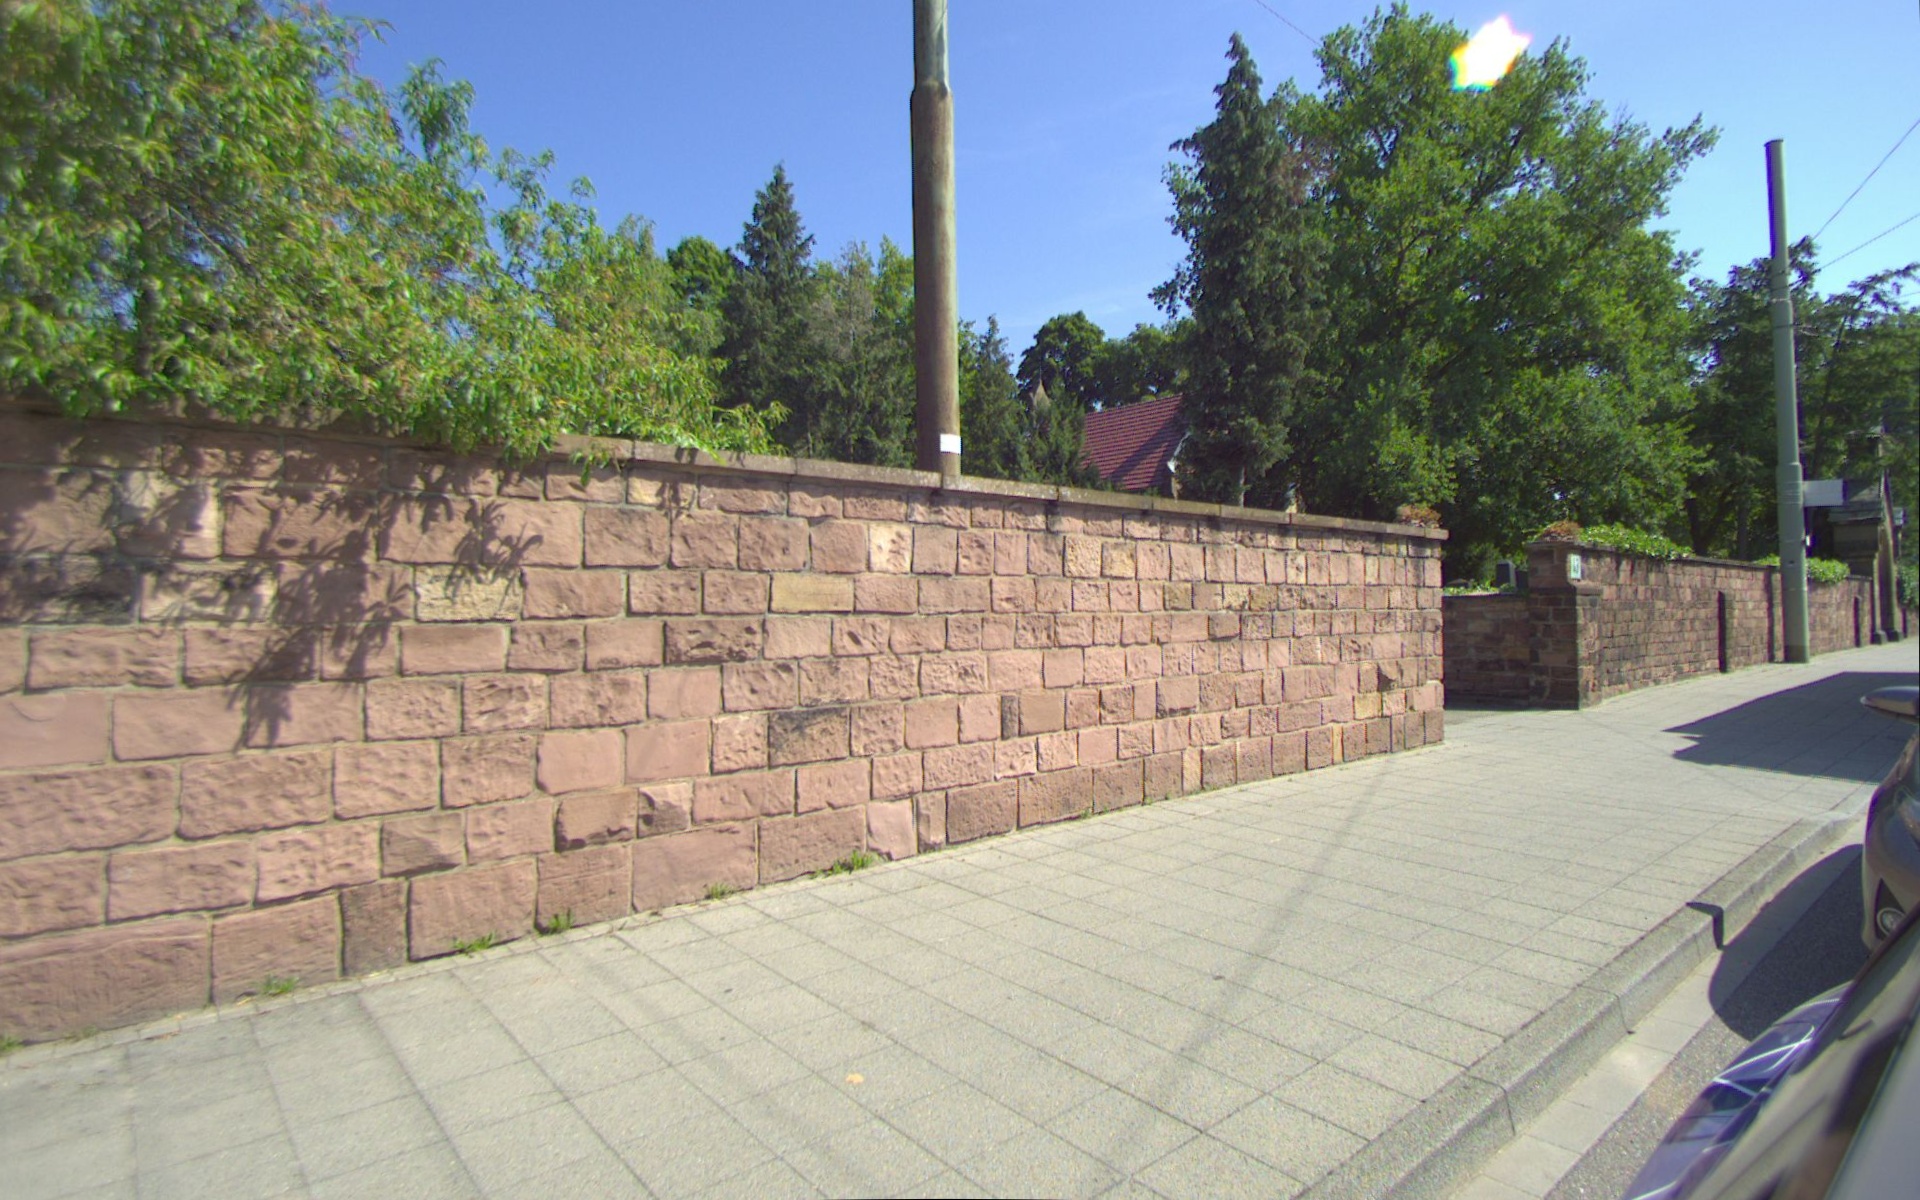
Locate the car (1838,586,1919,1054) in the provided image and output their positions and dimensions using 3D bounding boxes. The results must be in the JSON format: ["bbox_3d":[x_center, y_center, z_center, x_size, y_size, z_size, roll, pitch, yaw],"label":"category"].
[{"bbox_3d":[5.071,0.673,4.055,4.384,1.451,1.741,0,0,-41],"label":"car"}]
